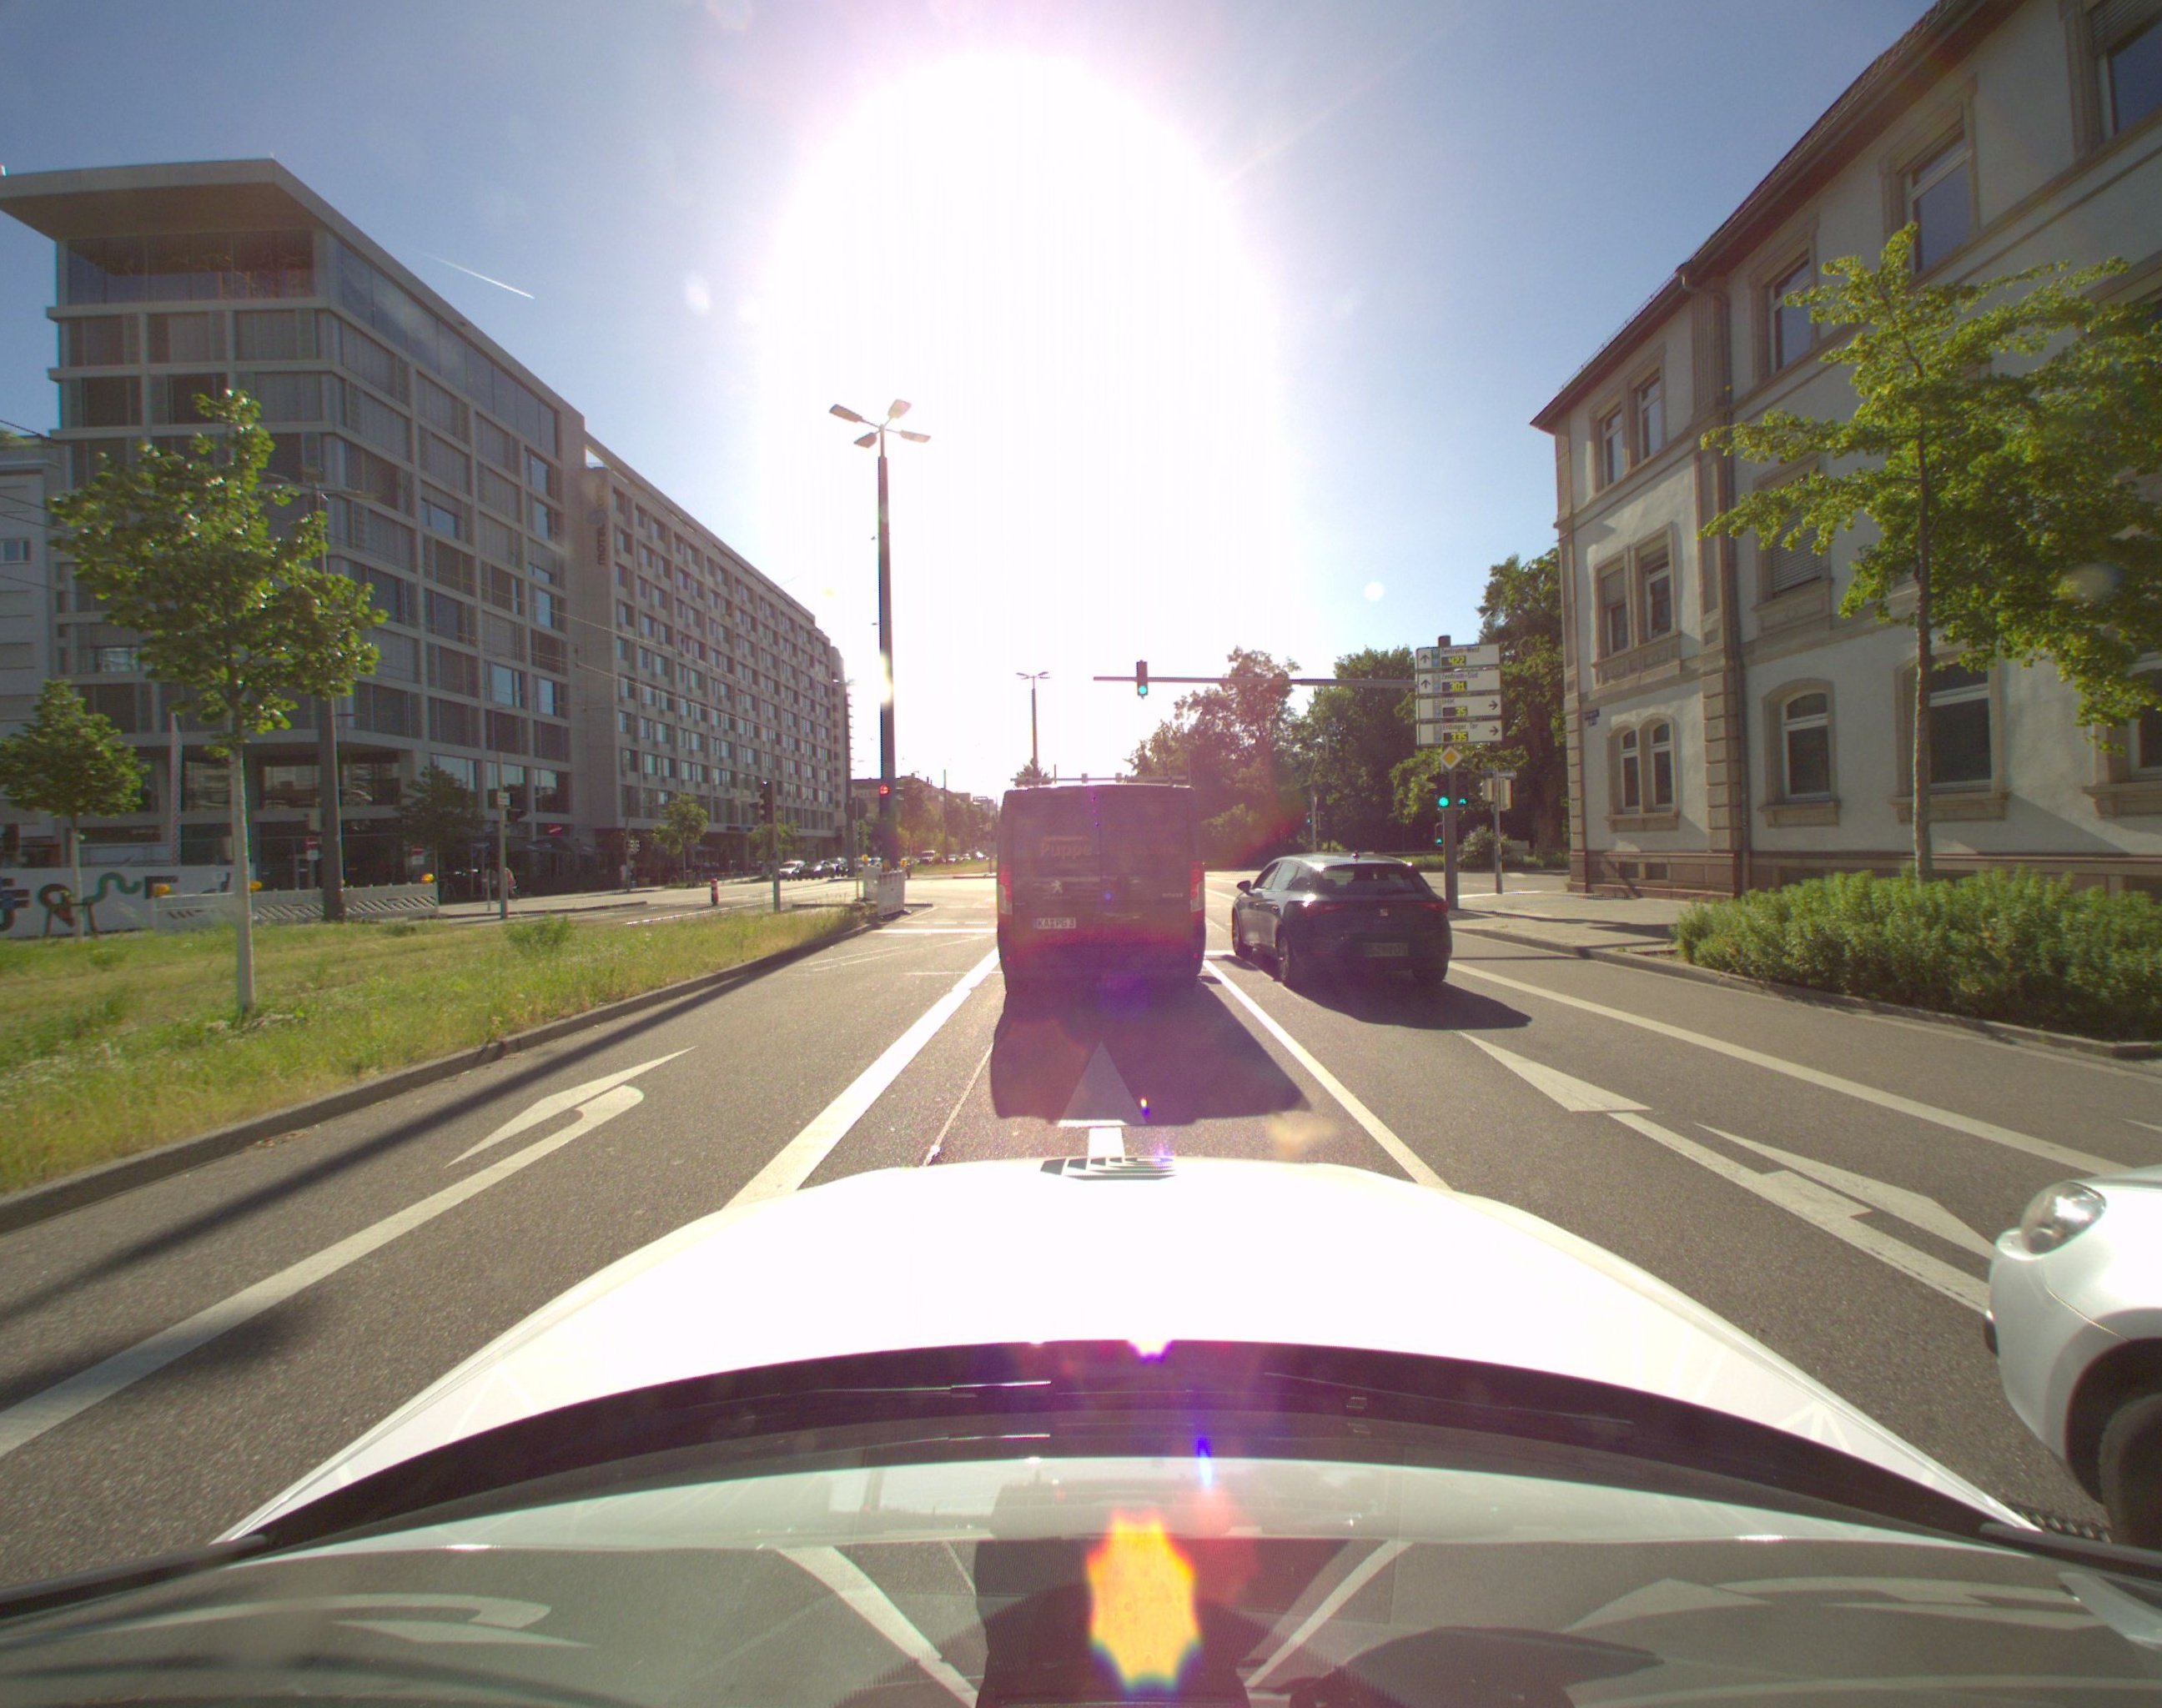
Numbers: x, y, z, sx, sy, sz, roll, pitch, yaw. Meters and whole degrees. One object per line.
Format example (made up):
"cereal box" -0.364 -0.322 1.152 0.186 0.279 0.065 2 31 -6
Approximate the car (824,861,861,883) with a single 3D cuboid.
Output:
"car" -20.204 1.517 69.261 1.783 1.651 4.002 -2 0 2

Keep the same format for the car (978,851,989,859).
"car" -20.839 0.227 174.148 1.783 1.651 4.002 -2 0 2

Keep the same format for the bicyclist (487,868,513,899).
"bicyclist" -29.724 1.487 41.669 0.590 1.580 0.894 0 0 5

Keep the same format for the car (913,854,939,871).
"car" -16.464 0.858 86.644 1.783 1.651 4.002 -2 0 2

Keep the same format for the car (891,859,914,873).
"car" -22.526 1.462 102.755 1.783 1.651 4.002 -2 0 2

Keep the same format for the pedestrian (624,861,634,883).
"pedestrian" -31.284 1.265 56.384 0.415 1.494 0.343 -2 0 1

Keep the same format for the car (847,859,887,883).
"car" -16.563 1.275 63.152 1.783 1.651 4.337 -2 0 2

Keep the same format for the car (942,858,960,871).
"car" -18.092 1.498 113.454 1.783 1.651 4.002 -2 0 2

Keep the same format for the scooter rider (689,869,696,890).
"scooter rider" -26.588 1.739 55.730 0.341 1.453 0.239 -2 0 1

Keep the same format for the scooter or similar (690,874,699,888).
"scooter or similar" -26.013 1.809 54.810 0.227 0.947 0.768 -2 0 2

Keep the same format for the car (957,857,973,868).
"car" -18.709 1.359 131.723 1.783 1.651 4.002 -2 0 2

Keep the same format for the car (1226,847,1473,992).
"car" 3.036 0.652 10.079 1.786 1.428 3.849 -1 0 0

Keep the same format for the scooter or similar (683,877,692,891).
"scooter or similar" -26.868 2.027 55.554 0.285 0.947 0.766 -2 0 -6

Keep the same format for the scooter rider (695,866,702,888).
"scooter rider" -25.799 1.538 54.937 0.341 1.453 0.239 -2 0 1

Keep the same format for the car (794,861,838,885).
"car" -19.845 1.407 61.096 1.783 1.651 4.002 -2 0 2

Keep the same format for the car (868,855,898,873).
"car" -19.130 0.945 78.919 1.783 1.651 4.002 -2 0 2

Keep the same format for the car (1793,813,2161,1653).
"car" 2.781 0.689 0.242 1.743 1.527 4.007 -1 0 2

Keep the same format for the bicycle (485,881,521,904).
"bicycle" -29.572 1.948 41.714 0.584 1.100 1.625 0 0 5

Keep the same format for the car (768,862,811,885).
"car" -22.708 1.513 63.567 1.783 1.651 4.002 -2 0 2

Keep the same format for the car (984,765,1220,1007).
"car" 0.218 0.272 9.923 2.211 2.267 4.484 0 1 0
